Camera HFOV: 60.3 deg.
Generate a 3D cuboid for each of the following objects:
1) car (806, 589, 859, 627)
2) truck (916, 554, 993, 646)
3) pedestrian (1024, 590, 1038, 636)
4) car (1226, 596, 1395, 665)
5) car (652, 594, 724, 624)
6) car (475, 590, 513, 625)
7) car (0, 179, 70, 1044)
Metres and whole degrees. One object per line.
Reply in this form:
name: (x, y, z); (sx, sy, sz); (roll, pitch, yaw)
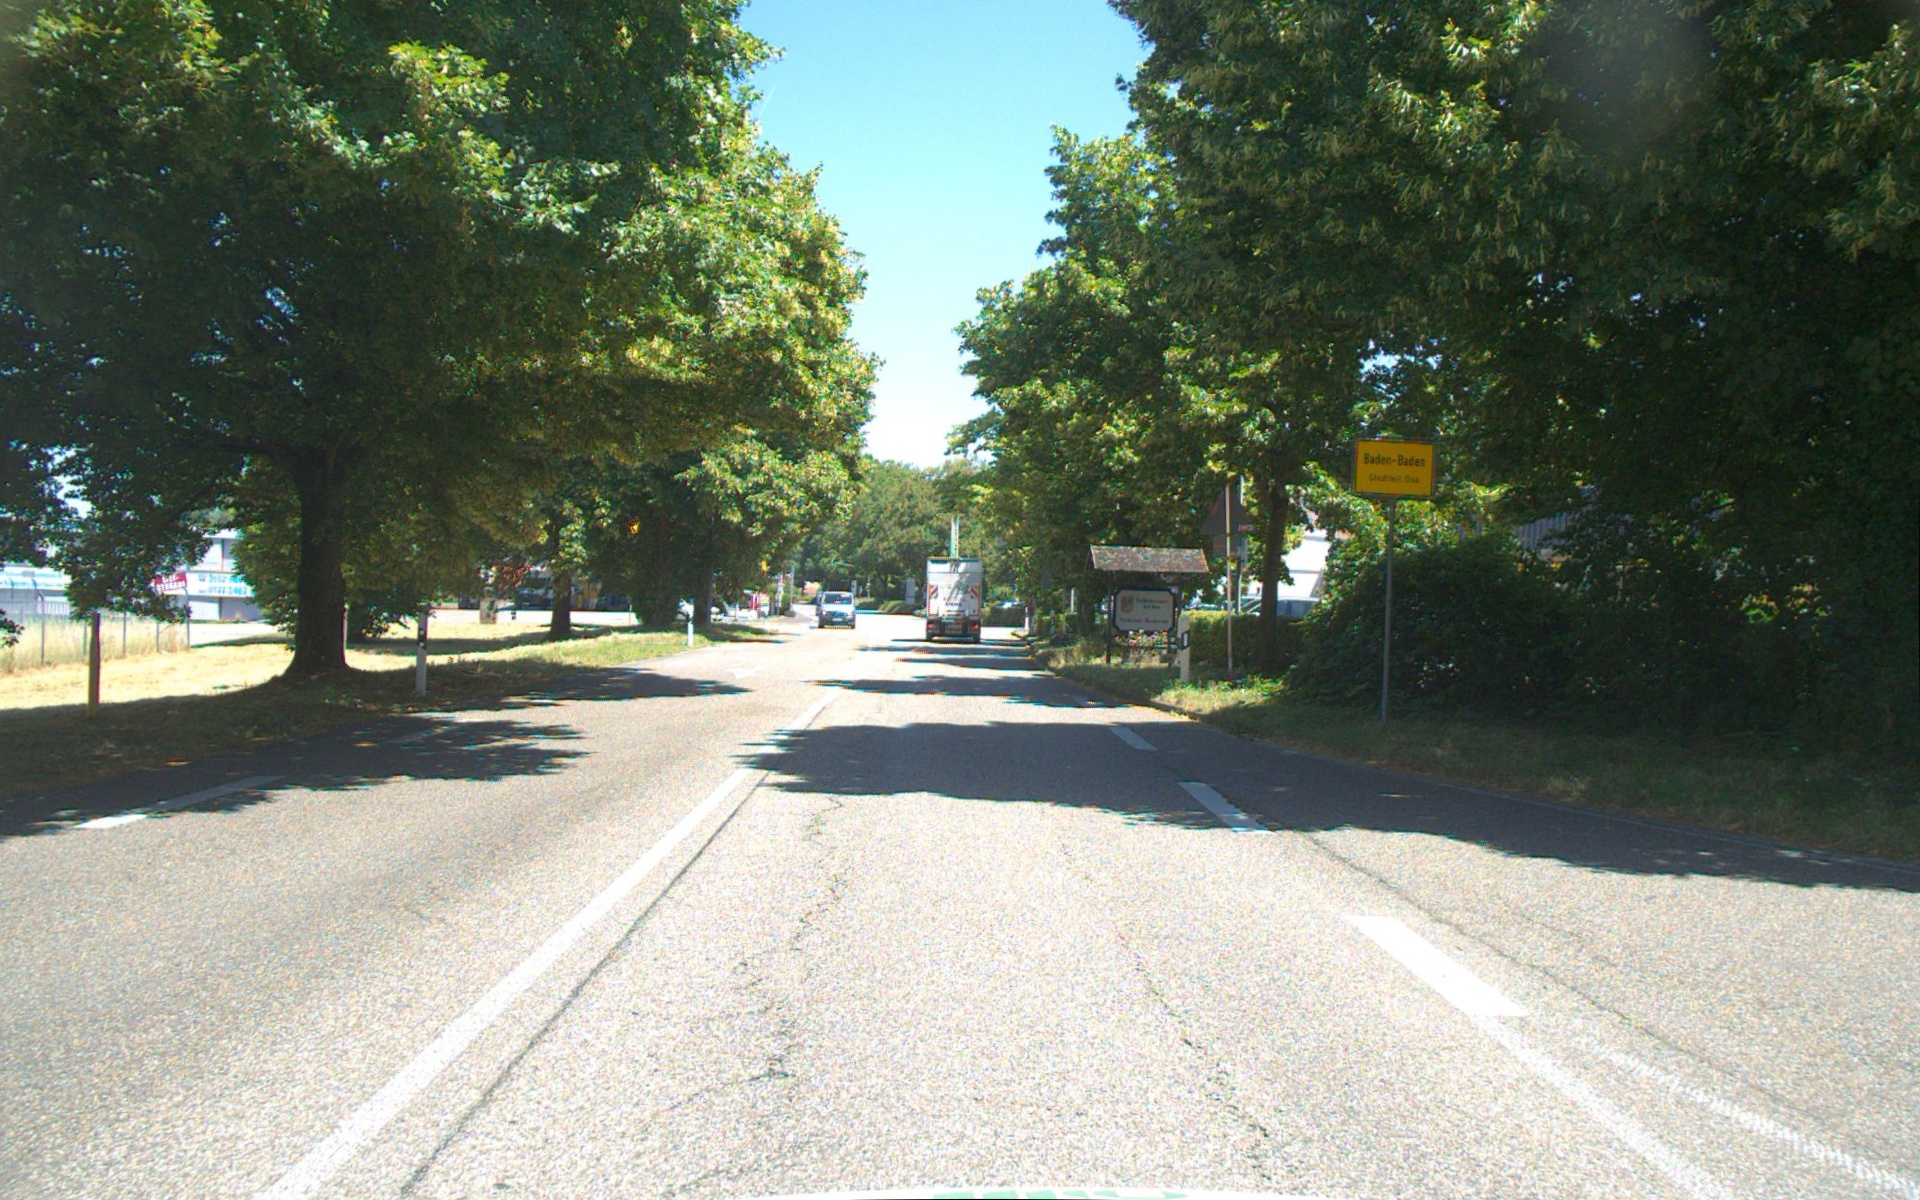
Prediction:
car: (-6.522, 0.392, 84.182); (1.959, 1.889, 5.298); (1, 0, -13)
truck: (-0.141, -0.043, 60.986); (2.481, 3.190, 5.363); (1, 1, 3)
pedestrian: (2.835, 0.522, 66.410); (0.536, 1.807, 0.577); (1, 0, 3)
car: (8.858, 0.754, 42.028); (3.855, 1.592, 1.797); (2, 0, -1)
car: (-13.216, 0.426, 80.372); (3.357, 1.386, 1.333); (1, 0, 28)
car: (-22.290, 0.353, 79.186); (1.708, 1.612, 3.983); (1, 0, -16)
car: (-3.958, 0.027, 2.074); (2.031, 2.673, 6.783); (1, 0, -1)
